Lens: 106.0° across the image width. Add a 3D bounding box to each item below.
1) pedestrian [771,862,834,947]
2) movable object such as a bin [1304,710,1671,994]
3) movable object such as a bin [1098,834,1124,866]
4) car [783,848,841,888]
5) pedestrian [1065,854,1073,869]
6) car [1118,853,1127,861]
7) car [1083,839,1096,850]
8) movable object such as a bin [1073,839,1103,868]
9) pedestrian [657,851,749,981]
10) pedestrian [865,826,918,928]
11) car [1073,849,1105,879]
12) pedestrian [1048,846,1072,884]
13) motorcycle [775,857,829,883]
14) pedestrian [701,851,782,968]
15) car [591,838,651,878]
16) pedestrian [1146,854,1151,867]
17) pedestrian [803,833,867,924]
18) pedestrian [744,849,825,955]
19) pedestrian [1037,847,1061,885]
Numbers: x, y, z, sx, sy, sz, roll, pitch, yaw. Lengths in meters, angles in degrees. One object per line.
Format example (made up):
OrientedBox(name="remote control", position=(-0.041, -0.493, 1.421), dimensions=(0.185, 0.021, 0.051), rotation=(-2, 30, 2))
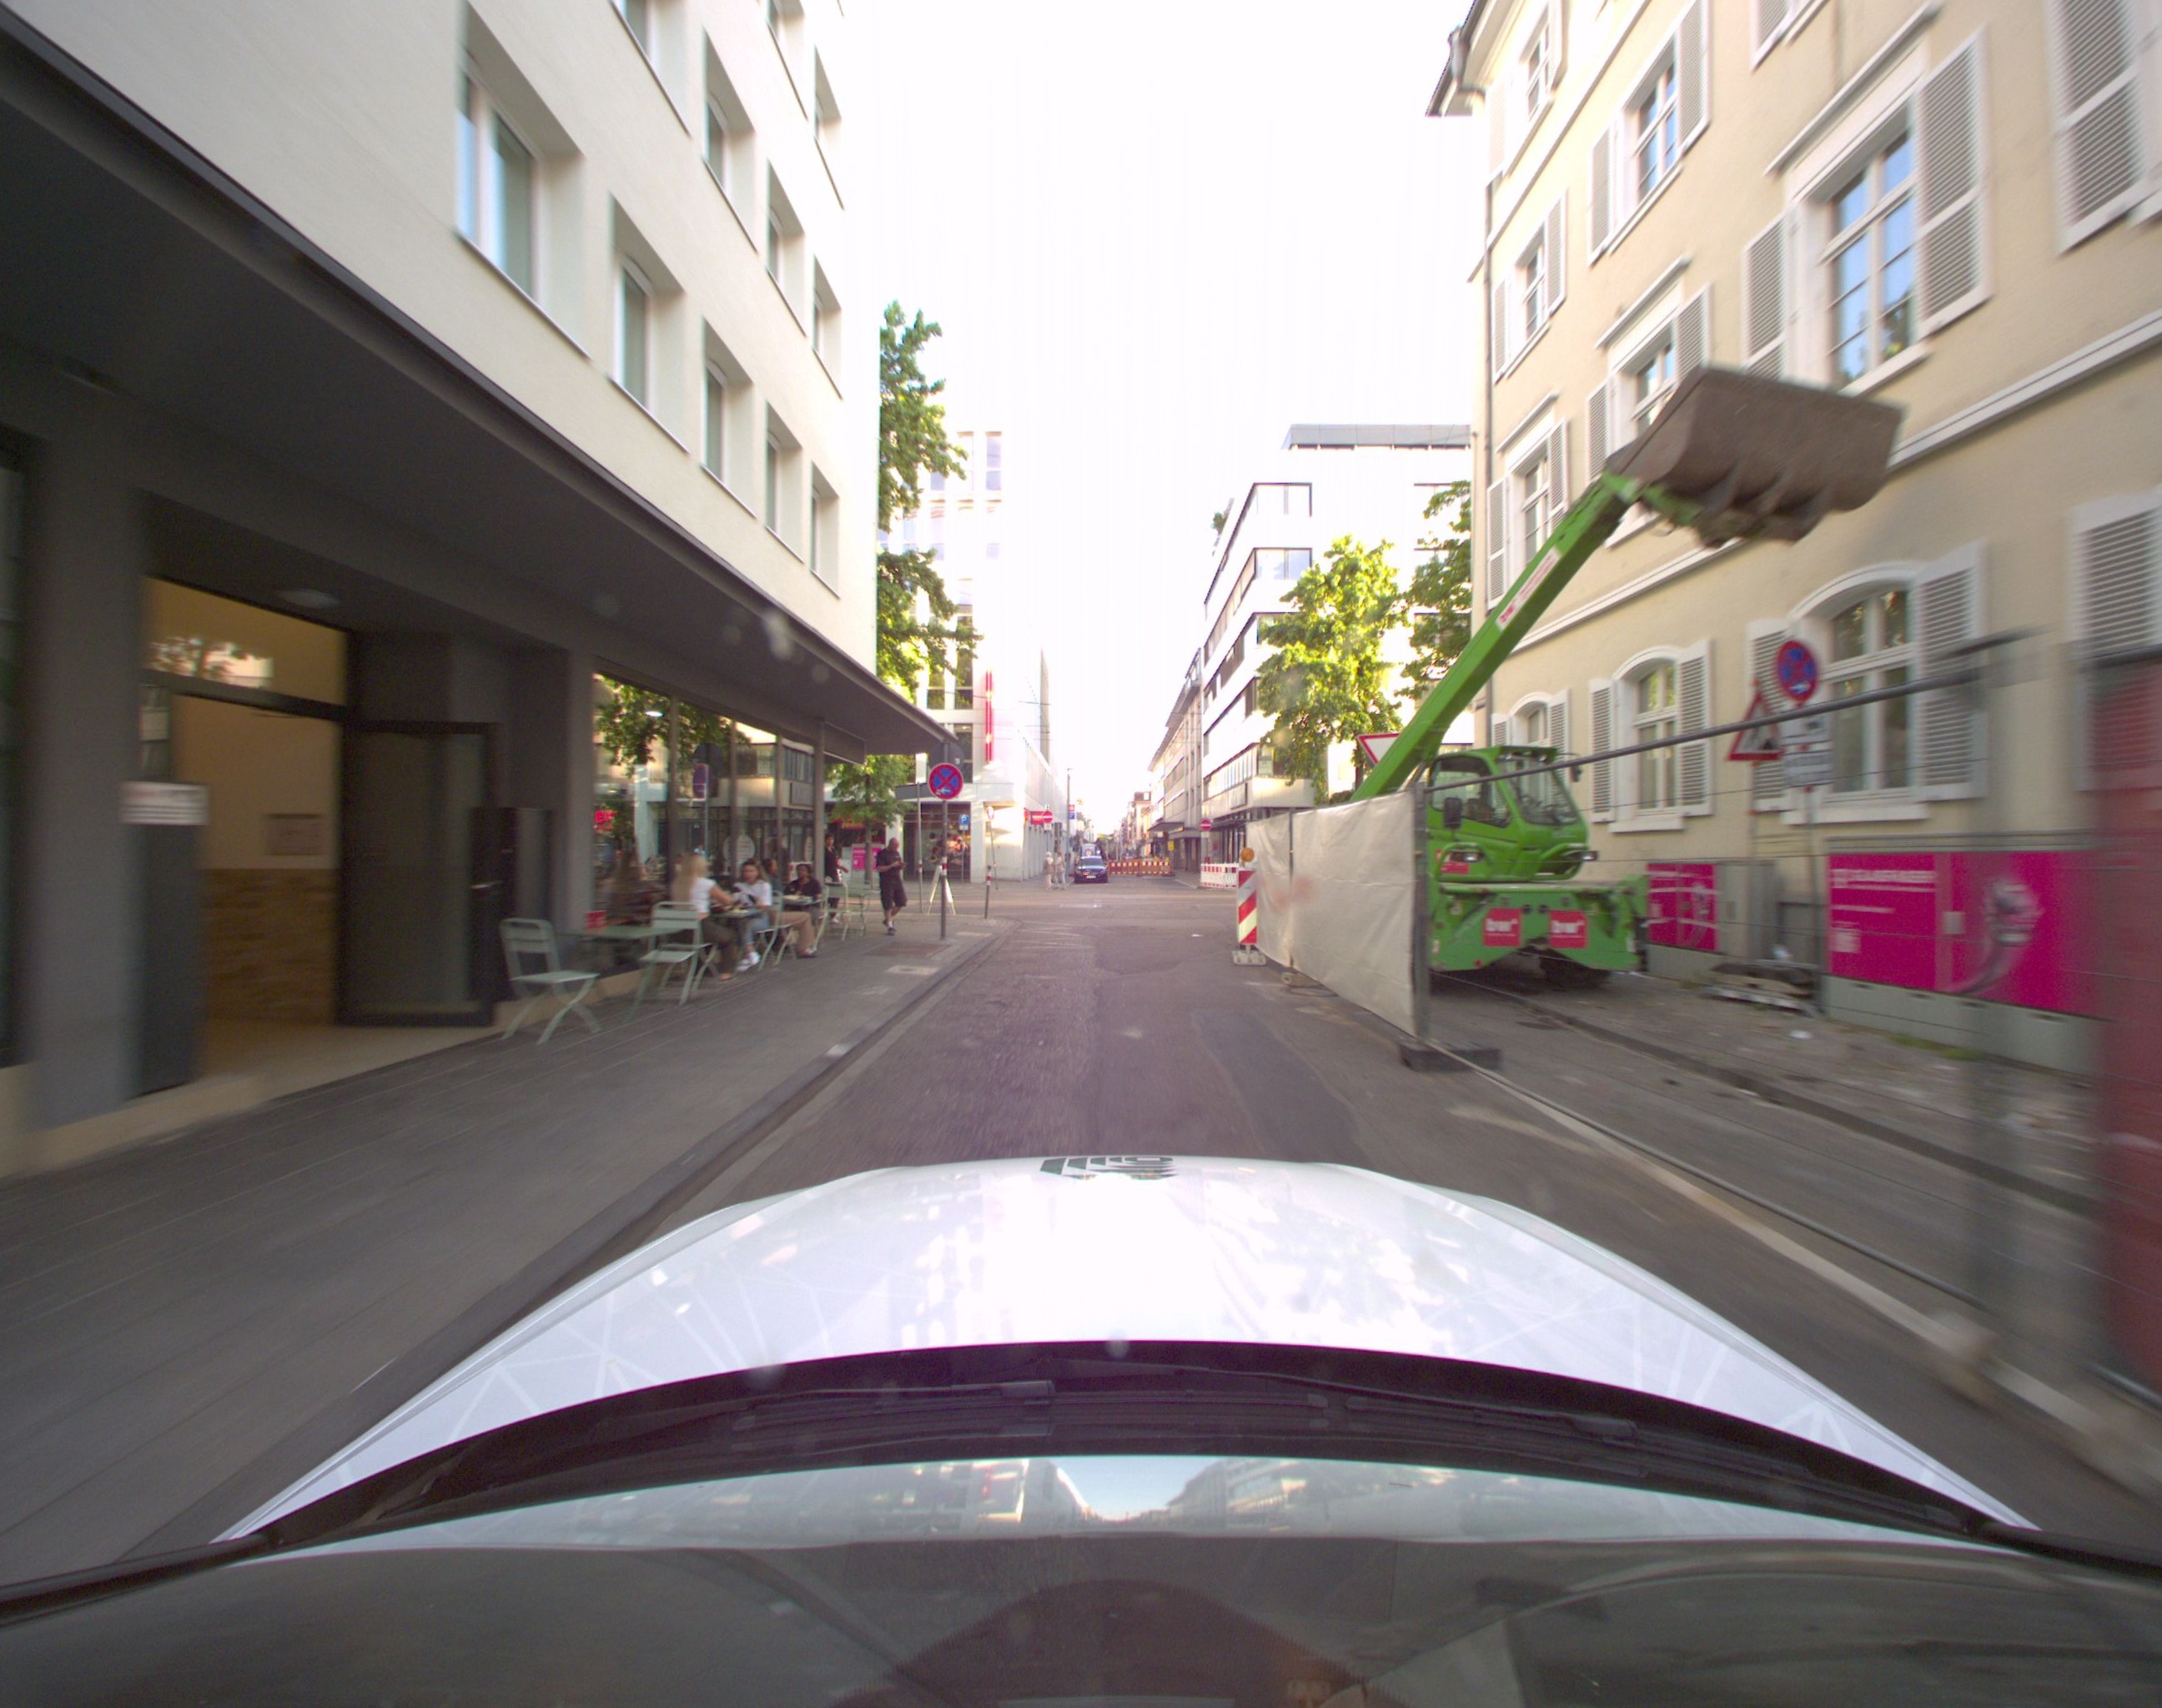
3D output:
OrientedBox(name="pedestrian", position=(-3.814, 0.676, 11.210), dimensions=(0.571, 1.113, 0.714), rotation=(2, 0, 2))
OrientedBox(name="movable object such as a bin", position=(4.733, -0.025, 10.509), dimensions=(2.595, 2.839, 4.452), rotation=(-1, 0, 2))
OrientedBox(name="movable object such as a bin", position=(2.585, -0.353, 69.824), dimensions=(2.149, 2.663, 4.574), rotation=(0, 0, 1))
OrientedBox(name="car", position=(-11.820, 0.550, 35.601), dimensions=(1.954, 1.505, 3.965), rotation=(-1, 3, -25))
OrientedBox(name="pedestrian", position=(-1.220, 0.785, 84.044), dimensions=(0.713, 1.464, 0.526), rotation=(-1, 0, 4))
OrientedBox(name="car", position=(9.322, 0.725, 183.697), dimensions=(1.986, 1.776, 4.002), rotation=(-1, 0, 2))
OrientedBox(name="car", position=(1.453, -1.556, 139.472), dimensions=(1.986, 1.776, 4.002), rotation=(-1, 0, 2))
OrientedBox(name="movable object such as a bin", position=(0.543, -0.071, 59.681), dimensions=(1.986, 2.013, 4.002), rotation=(-1, 0, 2))
OrientedBox(name="pedestrian", position=(-3.915, 0.619, 8.472), dimensions=(0.571, 1.275, 0.714), rotation=(2, 0, 2))
OrientedBox(name="pedestrian", position=(-3.205, 0.380, 13.783), dimensions=(0.690, 1.668, 0.501), rotation=(2, 0, -35))
OrientedBox(name="car", position=(0.420, 0.510, 44.521), dimensions=(1.625, 1.550, 3.140), rotation=(-1, 0, -2))
OrientedBox(name="pedestrian", position=(-0.940, 0.487, 35.770), dimensions=(0.615, 1.627, 0.862), rotation=(-1, 0, -43))
OrientedBox(name="motorcycle", position=(-10.163, 0.571, 29.721), dimensions=(1.753, 0.919, 0.640), rotation=(0, 0, -9))
OrientedBox(name="pedestrian", position=(-3.866, 0.608, 9.319), dimensions=(0.571, 1.275, 0.714), rotation=(2, 0, 2))
OrientedBox(name="car", position=(-19.765, 0.109, 35.134), dimensions=(1.954, 1.505, 3.965), rotation=(-1, 3, -25))
OrientedBox(name="pedestrian", position=(7.938, 0.765, 96.379), dimensions=(0.520, 1.464, 0.720), rotation=(0, 0, 9))
OrientedBox(name="pedestrian", position=(-4.675, 0.445, 15.465), dimensions=(0.891, 1.668, 0.803), rotation=(1, 0, 45))
OrientedBox(name="pedestrian", position=(-3.732, 0.585, 10.295), dimensions=(0.699, 1.275, 0.714), rotation=(2, 0, 1))
OrientedBox(name="pedestrian", position=(-1.404, 0.527, 35.335), dimensions=(0.615, 1.627, 0.862), rotation=(-1, 0, -43))
